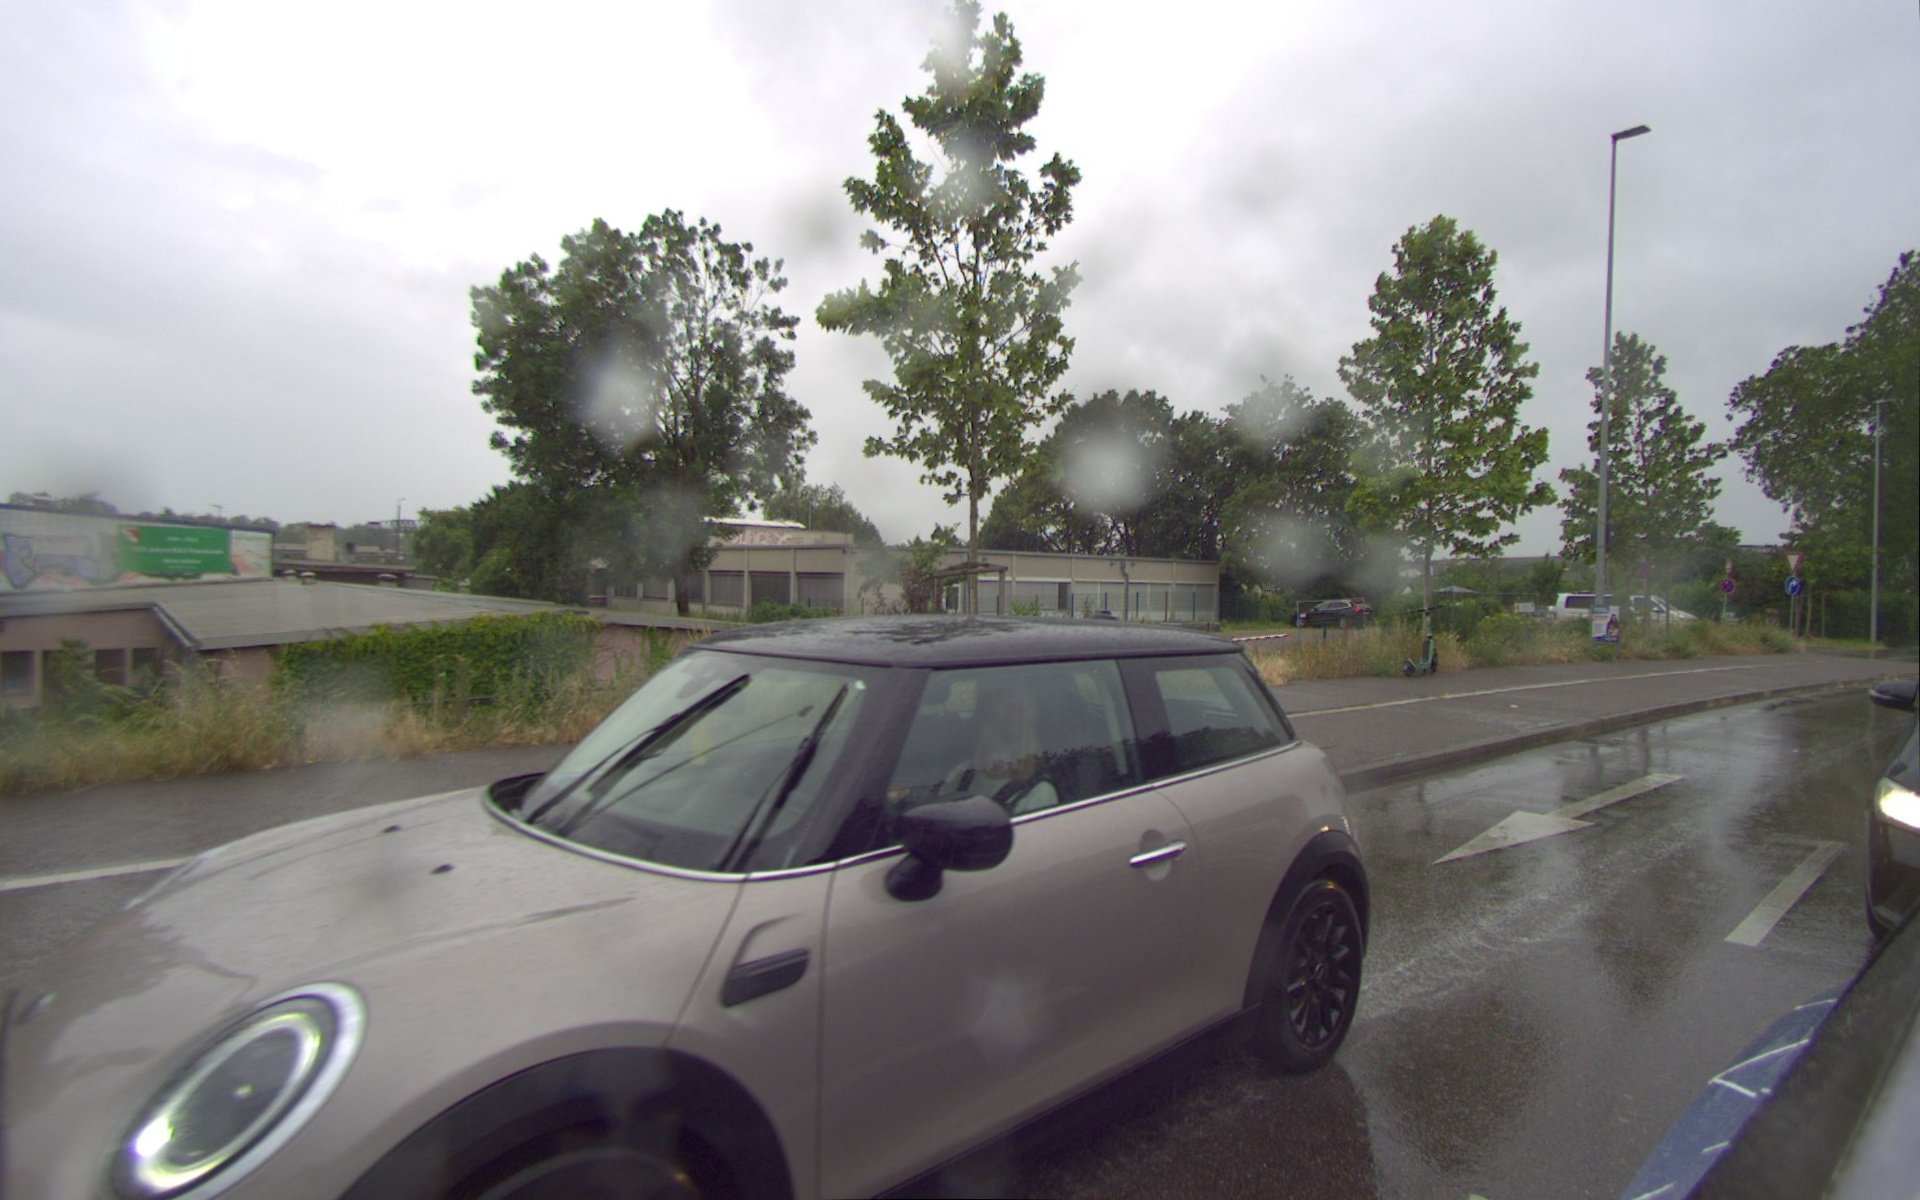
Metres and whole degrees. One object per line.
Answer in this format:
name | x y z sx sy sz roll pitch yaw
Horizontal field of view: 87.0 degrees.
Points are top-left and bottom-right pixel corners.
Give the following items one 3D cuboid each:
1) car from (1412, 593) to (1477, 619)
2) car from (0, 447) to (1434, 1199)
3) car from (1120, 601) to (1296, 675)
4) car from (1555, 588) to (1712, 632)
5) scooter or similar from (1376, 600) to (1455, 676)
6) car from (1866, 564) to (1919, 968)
car | 30.938 0.358 64.683 1.319 1.604 3.555 0 0 -35
car | -0.296 0.638 2.999 3.811 1.527 1.705 2 -1 -41
car | 4.693 0.670 19.490 1.319 1.304 3.246 0 0 -35
car | 28.126 0.392 42.436 1.972 1.747 5.168 0 0 -42
scooter or similar | 7.674 0.614 17.007 1.877 1.214 0.367 0 0 -38
car | 5.868 0.688 4.663 4.091 1.601 1.759 1 0 -37
